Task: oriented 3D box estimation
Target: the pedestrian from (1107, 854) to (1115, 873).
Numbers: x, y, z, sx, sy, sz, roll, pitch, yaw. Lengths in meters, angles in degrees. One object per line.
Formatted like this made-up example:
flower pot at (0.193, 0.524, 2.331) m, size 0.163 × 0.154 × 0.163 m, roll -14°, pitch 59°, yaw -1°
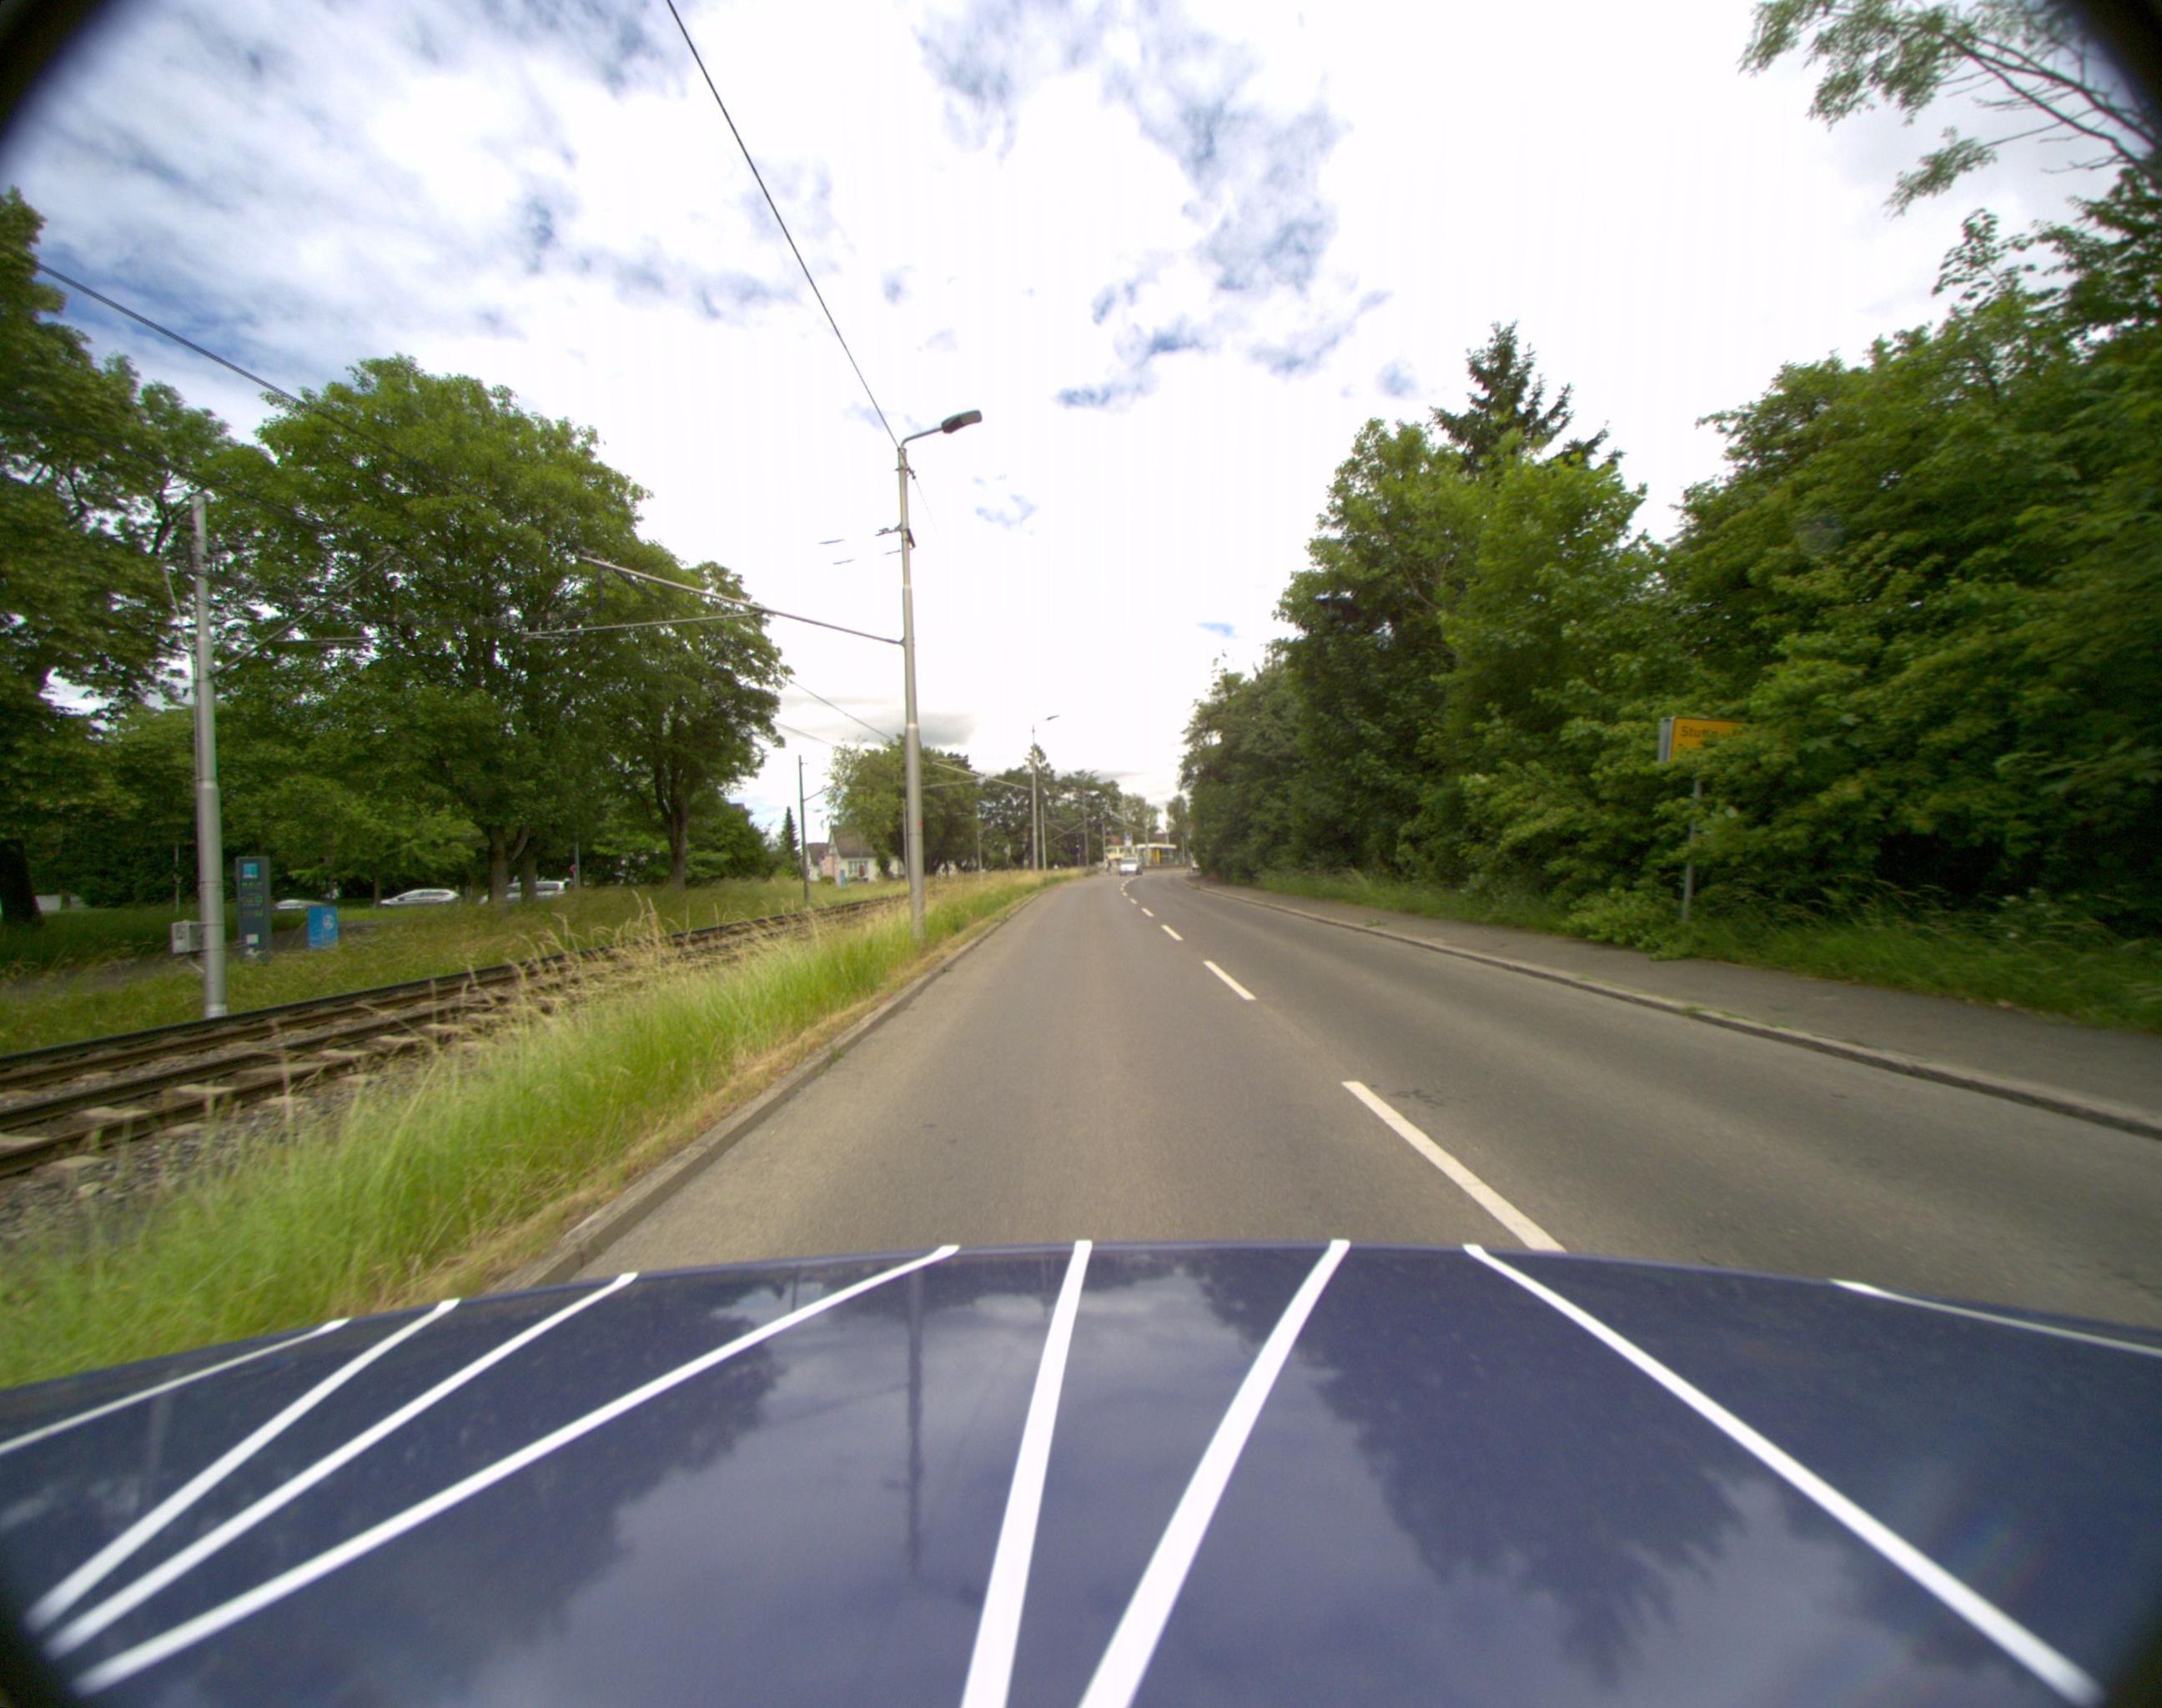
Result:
pedestrian at (2.913, 0.896, 73.097) m, size 0.475 × 1.719 × 0.799 m, roll -4°, pitch 2°, yaw -11°

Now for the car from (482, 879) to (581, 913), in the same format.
car at (-34.866, 2.646, 48.372) m, size 4.719 × 1.850 × 1.914 m, roll -2°, pitch 0°, yaw -23°

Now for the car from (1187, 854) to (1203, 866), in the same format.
car at (14.770, 0.785, 97.883) m, size 1.933 × 1.513 × 4.662 m, roll 0°, pitch 0°, yaw 10°

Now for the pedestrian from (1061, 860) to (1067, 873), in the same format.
pedestrian at (-2.132, 1.541, 96.148) m, size 0.493 × 1.612 × 0.791 m, roll -3°, pitch 0°, yaw 16°

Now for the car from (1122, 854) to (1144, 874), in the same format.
car at (4.747, 0.886, 68.551) m, size 1.733 × 1.638 × 4.229 m, roll -3°, pitch -1°, yaw 6°

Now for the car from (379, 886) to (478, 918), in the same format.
car at (-39.853, 2.911, 46.503) m, size 4.201 × 1.668 × 1.768 m, roll -2°, pitch 0°, yaw -23°

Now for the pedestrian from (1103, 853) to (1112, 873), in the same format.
pedestrian at (2.491, 0.853, 71.909) m, size 0.660 × 1.830 × 0.596 m, roll -4°, pitch 2°, yaw -10°

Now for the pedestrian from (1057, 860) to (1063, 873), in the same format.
pedestrian at (-2.672, 1.609, 96.254) m, size 0.493 × 1.552 × 0.693 m, roll -3°, pitch 0°, yaw 16°
